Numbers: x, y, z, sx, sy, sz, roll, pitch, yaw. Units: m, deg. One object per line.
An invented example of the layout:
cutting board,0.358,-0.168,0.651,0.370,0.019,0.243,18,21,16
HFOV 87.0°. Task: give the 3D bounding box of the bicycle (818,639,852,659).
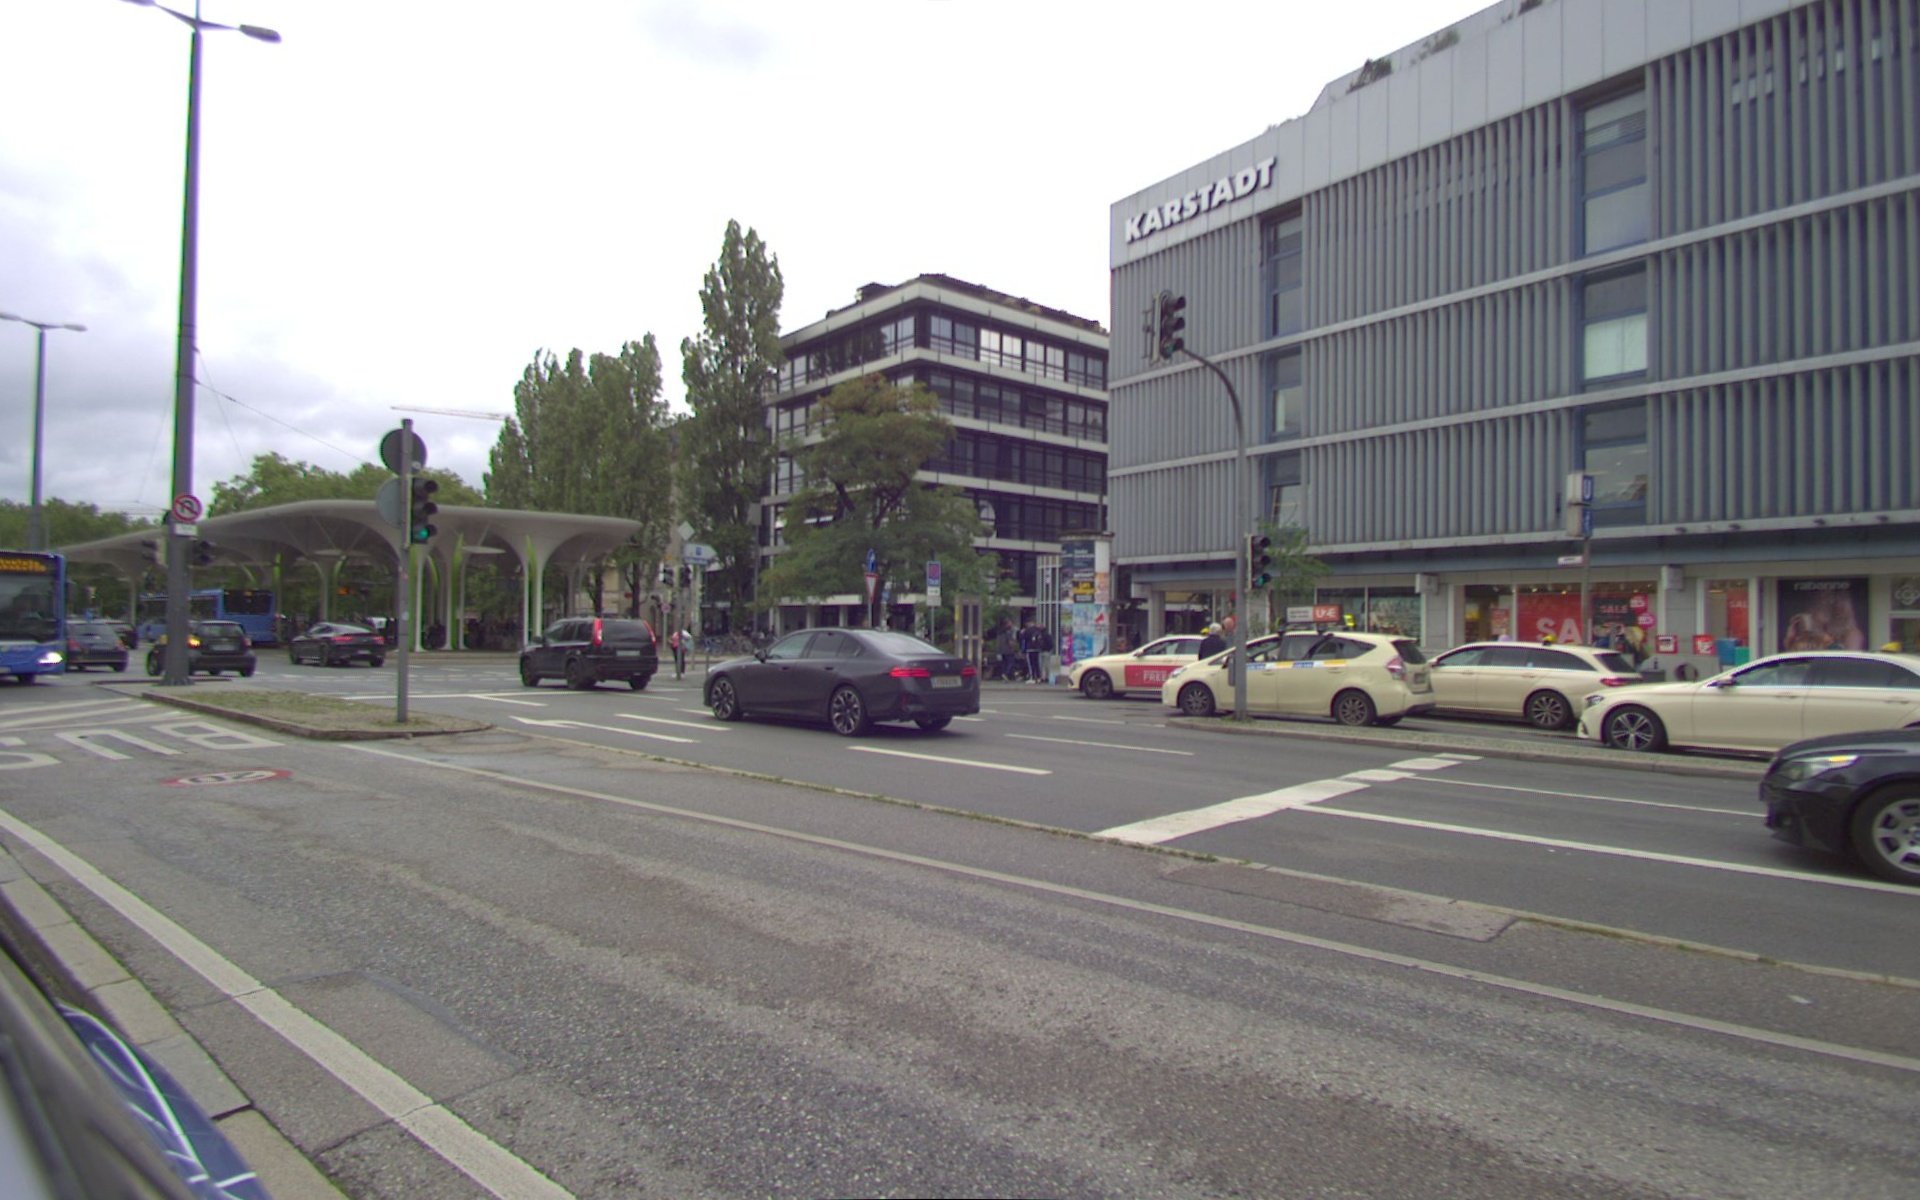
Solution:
bicycle,-7.221,2.846,58.548,2.044,1.142,0.561,2,-2,-44

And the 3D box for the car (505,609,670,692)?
car,-8.968,1.154,24.188,1.970,1.791,4.602,2,-2,-44

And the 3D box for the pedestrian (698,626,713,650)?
pedestrian,-18.440,2.769,73.232,0.821,1.712,0.907,1,-2,-27

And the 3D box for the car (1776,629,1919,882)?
car,7.552,0.924,5.472,4.736,1.498,1.815,-1,-3,44

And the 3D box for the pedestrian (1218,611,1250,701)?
pedestrian,5.407,1.085,19.957,0.428,1.742,0.518,0,0,40

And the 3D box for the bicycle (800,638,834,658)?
bicycle,-8.480,2.846,60.019,2.044,1.142,0.561,2,-2,-44

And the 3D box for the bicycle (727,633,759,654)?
bicycle,-11.637,2.348,54.264,1.660,1.106,0.470,0,-2,17

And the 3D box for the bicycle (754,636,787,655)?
bicycle,-11.838,2.846,63.268,2.044,1.142,0.561,2,-2,-44

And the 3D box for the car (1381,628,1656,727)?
car,10.071,1.312,18.447,1.884,1.579,4.004,2,-2,-43

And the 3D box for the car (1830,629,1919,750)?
car,13.782,1.169,12.804,1.730,1.548,4.006,2,-2,-41

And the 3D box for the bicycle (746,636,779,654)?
bicycle,-12.462,2.847,63.828,2.044,1.142,0.561,2,-2,-44

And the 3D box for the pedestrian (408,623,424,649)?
pedestrian,-28.769,1.909,53.494,0.591,1.348,0.542,-1,-2,40

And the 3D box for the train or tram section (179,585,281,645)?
train or tram section,-39.499,0.851,54.644,7.403,3.024,2.804,-1,-2,41

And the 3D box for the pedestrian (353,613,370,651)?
pedestrian,-29.226,1.567,49.392,0.656,1.865,0.790,2,-2,-29

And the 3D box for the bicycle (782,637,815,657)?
bicycle,-9.791,2.846,61.340,2.044,1.142,0.561,2,-2,-44

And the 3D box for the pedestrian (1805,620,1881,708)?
pedestrian,16.224,1.155,18.602,0.722,1.557,0.901,2,-2,-36

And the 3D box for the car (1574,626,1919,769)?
car,10.623,1.112,12.491,1.921,1.552,4.856,2,-2,-39

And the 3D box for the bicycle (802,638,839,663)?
bicycle,-5.733,2.074,41.573,1.750,1.006,0.503,-1,-2,42

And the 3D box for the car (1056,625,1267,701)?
car,4.459,1.335,22.455,4.276,1.522,1.843,0,-2,27

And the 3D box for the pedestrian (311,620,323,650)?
pedestrian,-32.762,1.779,51.579,0.419,1.514,0.491,1,-2,-23

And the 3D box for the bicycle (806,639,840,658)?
bicycle,-8.067,2.846,59.559,2.044,1.142,0.561,2,-2,-44

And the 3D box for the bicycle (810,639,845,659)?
bicycle,-7.730,2.846,59.044,2.044,1.142,0.561,2,-2,-44

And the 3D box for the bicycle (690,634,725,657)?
bicycle,-12.453,2.220,49.874,1.660,1.106,0.470,0,-2,17

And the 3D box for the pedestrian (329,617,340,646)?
pedestrian,-32.054,1.610,51.884,0.316,1.514,0.331,-1,-2,32

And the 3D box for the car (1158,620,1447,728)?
car,5.776,1.178,17.422,4.474,1.624,1.570,-1,-2,41

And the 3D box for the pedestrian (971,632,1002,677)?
pedestrian,0.813,1.647,30.631,0.773,1.318,0.537,-1,-2,42

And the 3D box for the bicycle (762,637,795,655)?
bicycle,-11.213,2.846,62.707,2.044,1.142,0.561,2,-2,-44

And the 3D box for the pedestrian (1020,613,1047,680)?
pedestrian,2.009,1.260,27.667,0.510,1.792,0.555,0,0,44

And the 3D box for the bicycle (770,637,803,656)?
bicycle,-10.666,2.846,62.212,2.044,1.142,0.561,2,-2,-44

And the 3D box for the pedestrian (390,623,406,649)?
pedestrian,-29.424,1.904,53.018,0.591,1.348,0.542,-1,-2,40

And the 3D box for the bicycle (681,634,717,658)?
bicycle,-12.653,2.221,49.094,1.660,1.106,0.470,0,-2,17

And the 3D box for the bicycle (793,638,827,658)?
bicycle,-8.949,2.846,60.498,2.044,1.142,0.561,2,-2,-44

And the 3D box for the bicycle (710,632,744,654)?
bicycle,-12.017,2.215,52.199,1.660,1.106,0.470,0,-2,17

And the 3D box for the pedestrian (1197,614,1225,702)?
pedestrian,4.848,1.103,19.546,0.425,1.668,0.360,0,0,40

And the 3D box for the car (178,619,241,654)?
car,-34.292,1.655,46.229,2.744,1.527,1.653,-1,-2,39

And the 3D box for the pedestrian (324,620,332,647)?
pedestrian,-32.094,1.701,51.432,0.312,1.353,0.340,2,-2,-32

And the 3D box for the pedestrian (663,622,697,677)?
pedestrian,-8.174,1.423,29.571,0.754,1.563,0.636,0,0,16

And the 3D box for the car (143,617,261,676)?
car,-20.710,1.245,27.660,2.776,1.518,1.547,0,-1,28

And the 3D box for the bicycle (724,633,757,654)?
bicycle,-11.624,2.291,53.550,1.660,1.106,0.470,0,-2,17

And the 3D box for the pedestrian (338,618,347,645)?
pedestrian,-31.642,1.599,51.852,0.270,1.387,0.299,-1,-2,38

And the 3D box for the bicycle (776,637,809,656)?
bicycle,-10.214,2.846,61.787,2.044,1.142,0.561,2,-2,-44

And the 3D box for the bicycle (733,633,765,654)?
bicycle,-11.526,2.366,55.206,1.655,1.106,0.472,0,-2,7

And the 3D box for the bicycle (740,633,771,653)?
bicycle,-11.403,2.383,56.473,1.655,1.106,0.472,0,-2,7

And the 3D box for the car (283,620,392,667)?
car,-22.510,1.531,36.549,4.613,1.589,1.973,-1,-2,40

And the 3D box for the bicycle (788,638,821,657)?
bicycle,-9.360,2.846,60.914,2.044,1.142,0.561,2,-2,-44

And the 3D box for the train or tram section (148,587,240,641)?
train or tram section,-45.106,0.858,59.493,7.403,3.024,2.804,-1,-2,41

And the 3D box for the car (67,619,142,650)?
car,-41.544,1.666,49.116,4.611,1.427,1.973,-1,-2,40

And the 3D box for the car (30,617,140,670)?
car,-25.941,1.286,29.976,3.380,1.491,1.609,-1,-3,34

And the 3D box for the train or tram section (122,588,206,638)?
train or tram section,-50.695,0.863,64.356,7.403,3.024,2.804,-1,-2,41

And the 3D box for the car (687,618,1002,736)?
car,-1.908,1.057,15.440,5.021,1.519,1.972,-1,-3,43

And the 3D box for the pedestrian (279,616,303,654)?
pedestrian,-30.864,1.605,46.673,0.787,1.762,0.702,-1,-2,40

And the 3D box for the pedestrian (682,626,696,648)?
pedestrian,-22.018,3.022,82.152,0.788,1.737,0.828,2,-2,-38

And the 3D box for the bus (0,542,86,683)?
bus,-24.607,0.261,24.498,11.194,2.966,2.907,0,-1,37

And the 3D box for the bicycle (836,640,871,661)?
bicycle,-5.993,2.846,57.196,2.044,1.142,0.561,2,-2,-44
